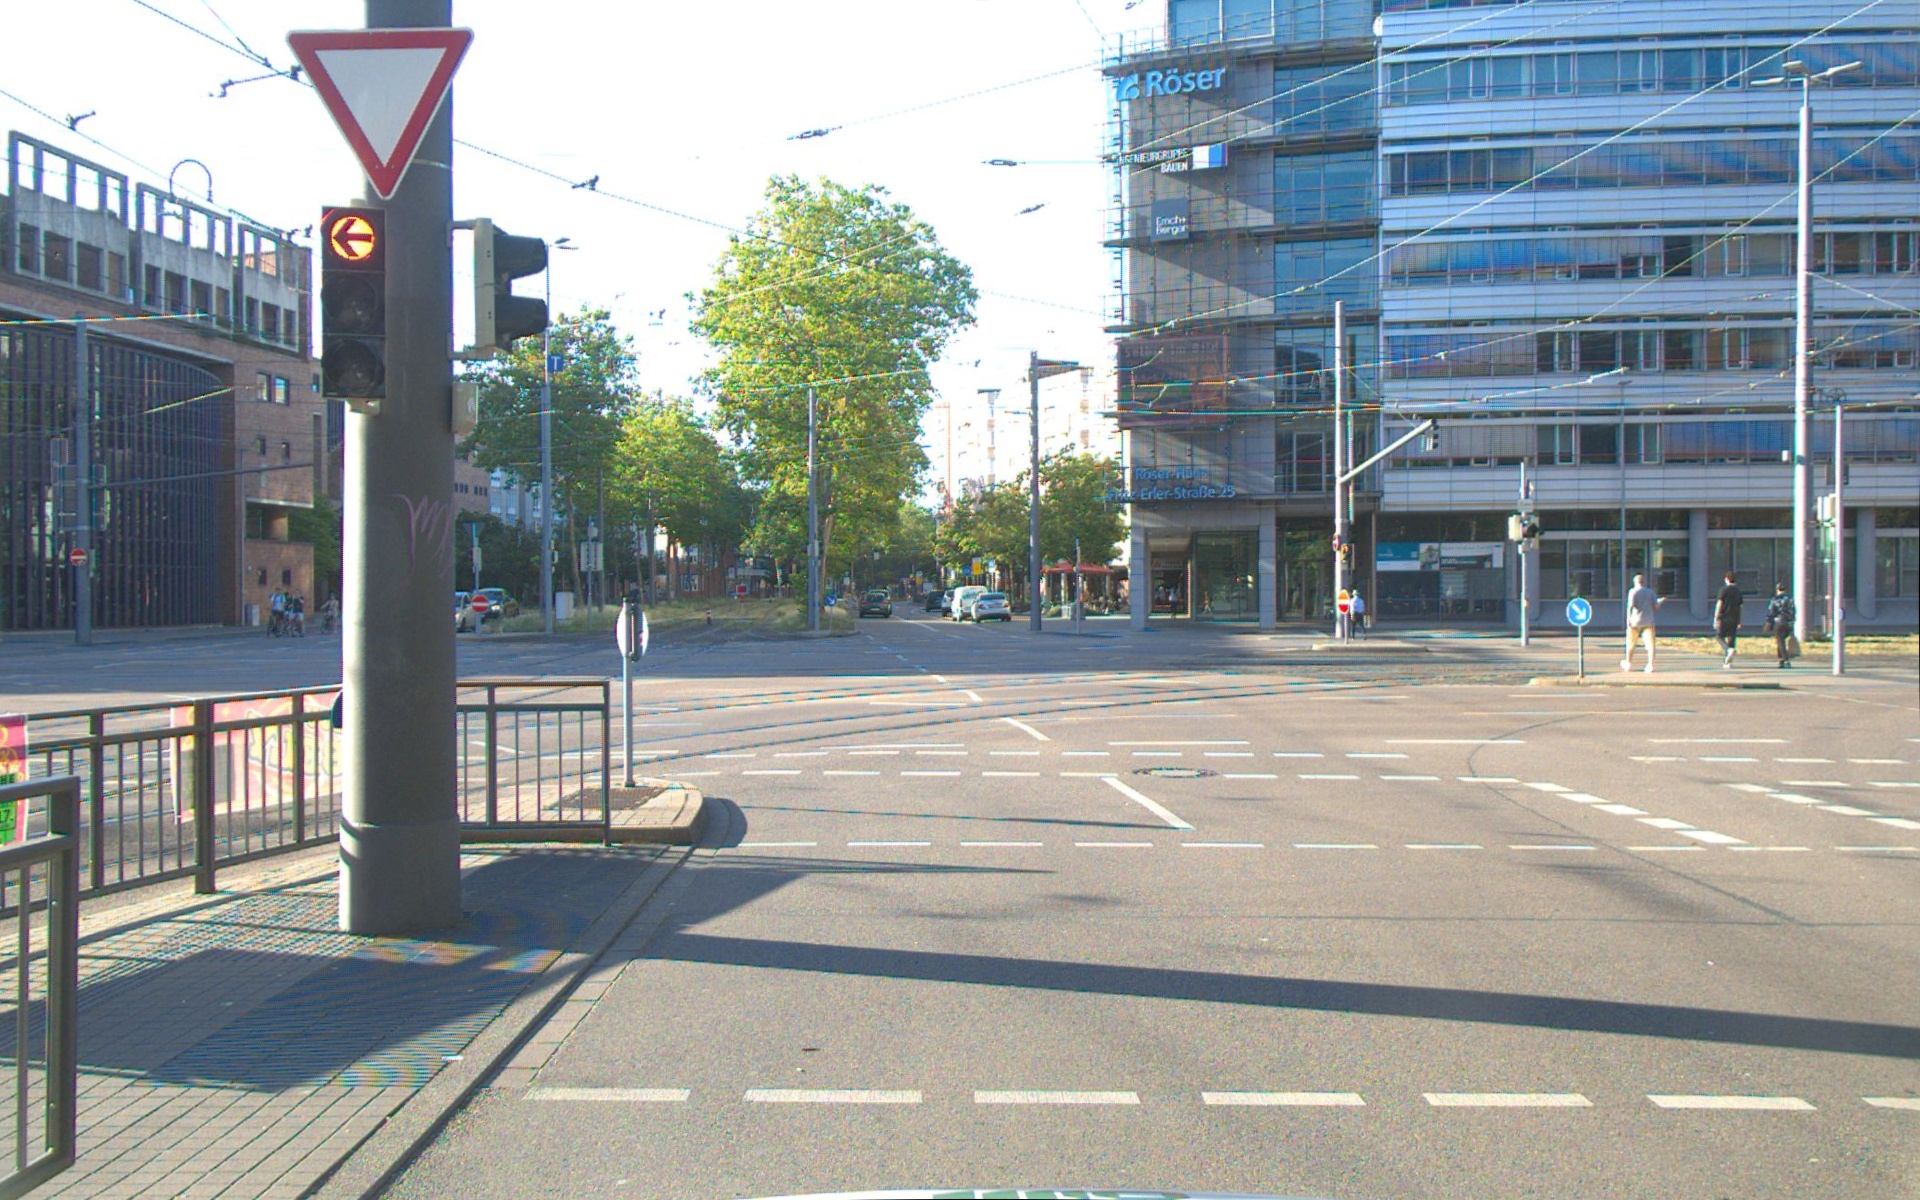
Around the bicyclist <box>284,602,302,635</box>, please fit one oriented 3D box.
[{"bbox_3d":[-27.491,0.748,68.124,0.495,1.327,0.581,-1,0,-1],"label":"bicyclist"}]

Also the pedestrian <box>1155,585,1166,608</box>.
[{"bbox_3d":[14.992,-0.274,123.485,0.729,1.744,0.612,-1,0,-1],"label":"pedestrian"}]

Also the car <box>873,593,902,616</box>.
[{"bbox_3d":[-4.868,0.305,111.380,1.761,1.467,3.999,-1,0,-1],"label":"car"}]

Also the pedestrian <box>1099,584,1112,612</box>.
[{"bbox_3d":[9.254,-0.127,105.088,0.729,1.744,0.612,-1,0,-1],"label":"pedestrian"}]

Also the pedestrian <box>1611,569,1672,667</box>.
[{"bbox_3d":[12.970,0.334,31.505,0.845,1.820,0.872,-1,0,6],"label":"pedestrian"}]

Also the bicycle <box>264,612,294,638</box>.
[{"bbox_3d":[-26.812,0.967,65.142,0.531,0.980,1.586,-1,0,-1],"label":"bicycle"}]

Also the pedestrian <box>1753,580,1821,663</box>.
[{"bbox_3d":[16.302,0.418,32.628,0.928,1.591,0.897,-1,0,6],"label":"pedestrian"}]

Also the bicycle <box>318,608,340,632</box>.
[{"bbox_3d":[-27.129,0.853,71.099,0.442,0.980,1.347,-1,0,-1],"label":"bicycle"}]

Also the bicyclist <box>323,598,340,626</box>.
[{"bbox_3d":[-27.034,0.498,71.127,0.495,1.199,0.581,-1,0,-1],"label":"bicyclist"}]

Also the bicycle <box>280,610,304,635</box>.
[{"bbox_3d":[-27.503,0.921,68.143,0.458,0.980,1.320,-1,0,-1],"label":"bicycle"}]

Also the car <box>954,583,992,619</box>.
[{"bbox_3d":[0.685,0.047,89.564,1.953,1.892,3.999,-1,0,-1],"label":"car"}]

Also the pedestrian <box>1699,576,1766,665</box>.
[{"bbox_3d":[15.339,0.398,32.863,0.893,1.714,1.036,-1,0,6],"label":"pedestrian"}]

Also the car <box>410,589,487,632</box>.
[{"bbox_3d":[-20.670,0.415,67.024,1.953,1.668,3.999,-1,0,-2],"label":"car"}]

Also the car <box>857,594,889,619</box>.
[{"bbox_3d":[-5.167,0.378,98.862,1.761,1.467,3.999,-1,0,-1],"label":"car"}]

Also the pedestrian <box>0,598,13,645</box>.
[{"bbox_3d":[-33.647,0.750,57.884,0.598,1.653,0.619,-1,0,13],"label":"pedestrian"}]

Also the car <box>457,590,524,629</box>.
[{"bbox_3d":[-21.129,0.416,74.580,1.953,1.668,3.999,-1,0,-2],"label":"car"}]

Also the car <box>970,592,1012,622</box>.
[{"bbox_3d":[1.533,0.337,82.778,1.953,1.400,3.999,-1,0,-1],"label":"car"}]

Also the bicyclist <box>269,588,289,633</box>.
[{"bbox_3d":[-26.811,0.408,65.127,0.525,1.761,0.581,-1,0,-1],"label":"bicyclist"}]

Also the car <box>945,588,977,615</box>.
[{"bbox_3d":[0.031,0.071,105.200,1.953,1.646,3.999,-1,0,-1],"label":"car"}]

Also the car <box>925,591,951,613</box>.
[{"bbox_3d":[-1.685,0.132,126.623,1.953,1.646,3.999,-1,0,-1],"label":"car"}]

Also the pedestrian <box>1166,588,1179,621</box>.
[{"bbox_3d":[9.814,0.214,76.434,0.599,1.534,0.579,-1,0,7],"label":"pedestrian"}]

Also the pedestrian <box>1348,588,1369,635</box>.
[{"bbox_3d":[13.347,0.380,55.431,0.599,1.534,0.579,-1,0,7],"label":"pedestrian"}]

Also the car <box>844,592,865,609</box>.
[{"bbox_3d":[-9.376,0.074,147.729,1.762,1.467,3.998,-1,0,-3],"label":"car"}]

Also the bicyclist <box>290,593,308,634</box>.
[{"bbox_3d":[-26.122,0.528,65.382,0.449,1.631,0.581,-1,0,-1],"label":"bicyclist"}]

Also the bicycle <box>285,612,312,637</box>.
[{"bbox_3d":[-26.123,0.961,65.323,0.463,0.980,1.575,-1,0,-1],"label":"bicycle"}]
